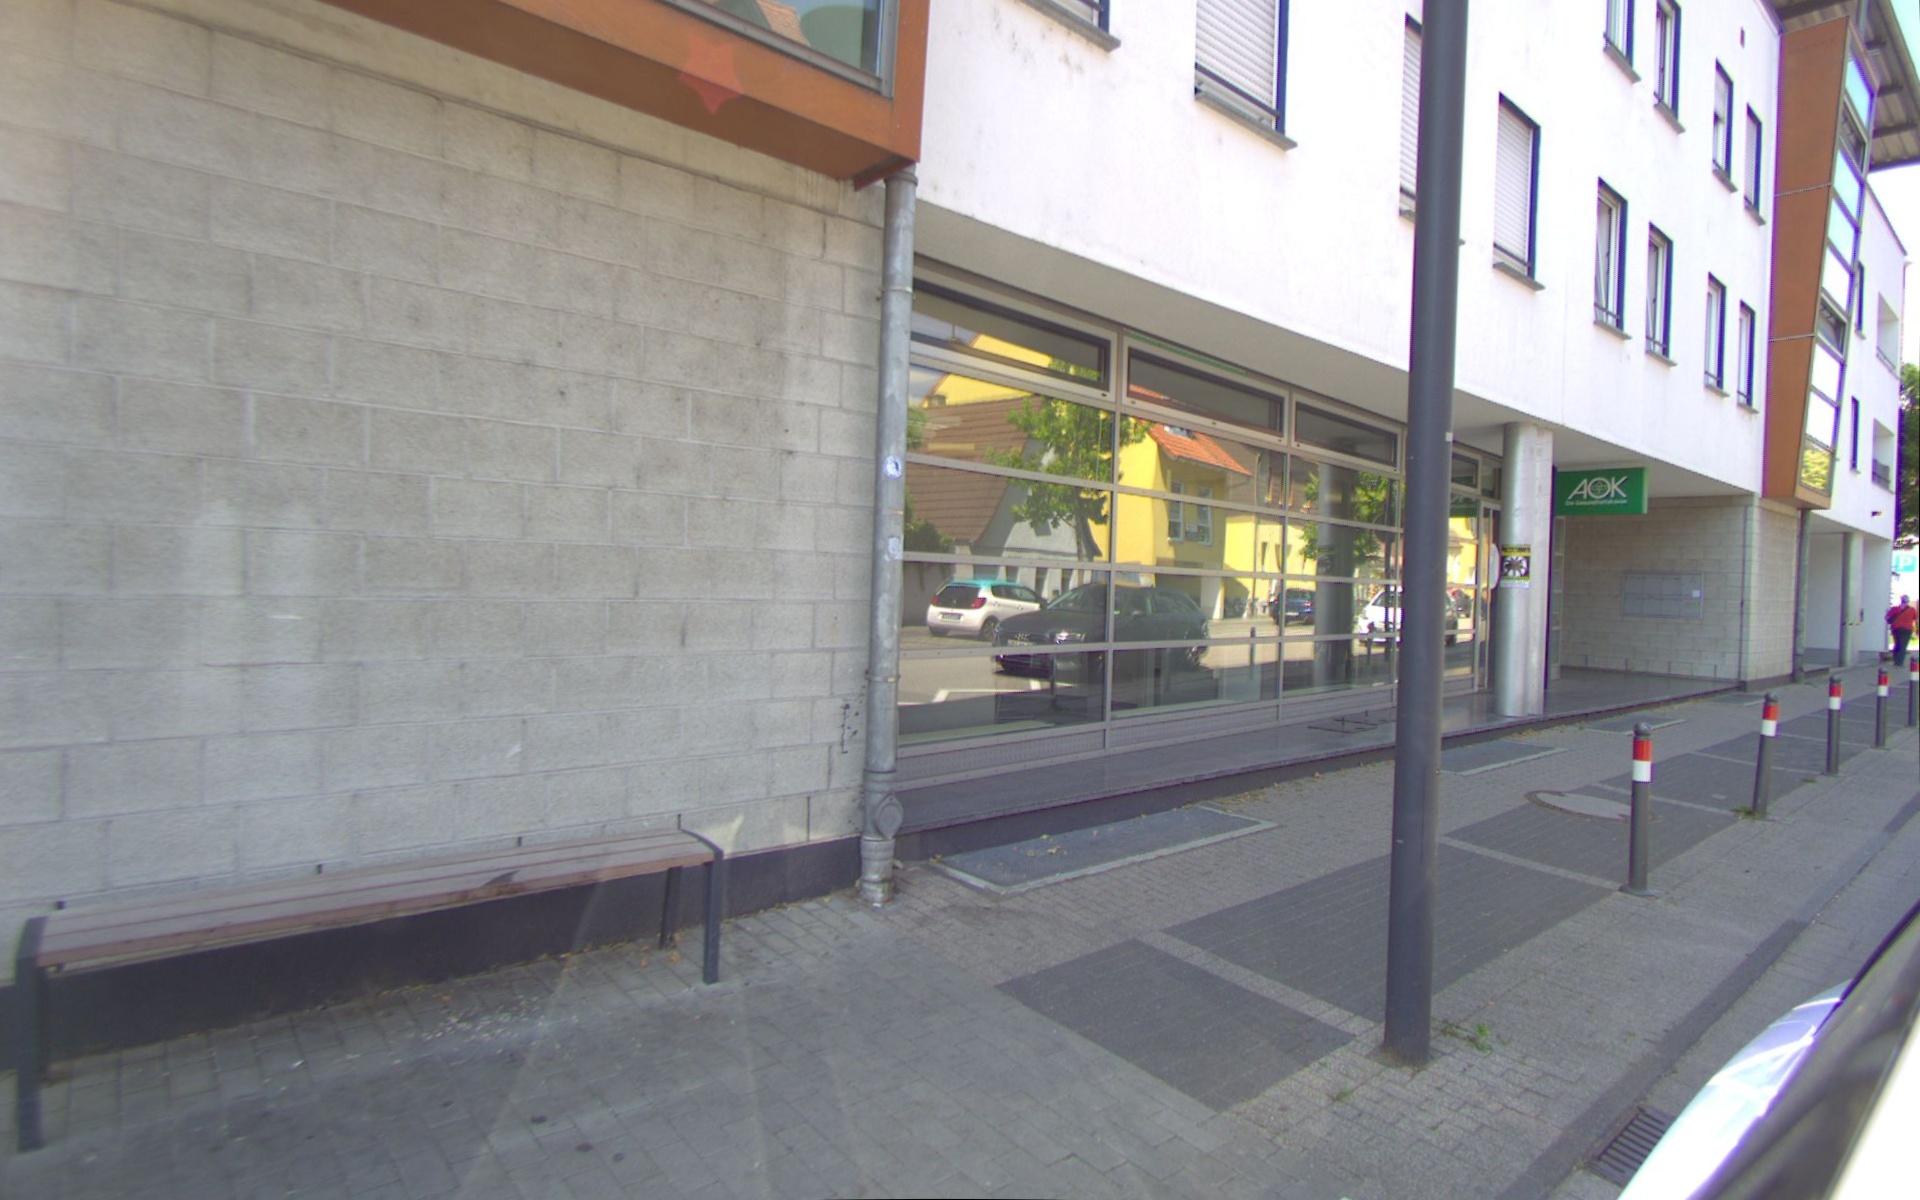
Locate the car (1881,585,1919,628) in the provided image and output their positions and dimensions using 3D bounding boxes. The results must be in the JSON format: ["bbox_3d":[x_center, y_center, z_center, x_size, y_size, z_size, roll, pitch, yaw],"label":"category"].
[{"bbox_3d":[44.760,0.362,45.890,1.965,1.882,4.202,1,2,-41],"label":"car"}]

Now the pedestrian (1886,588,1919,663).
[{"bbox_3d":[21.483,0.575,22.710,0.903,1.607,0.826,1,4,-40],"label":"pedestrian"}]
